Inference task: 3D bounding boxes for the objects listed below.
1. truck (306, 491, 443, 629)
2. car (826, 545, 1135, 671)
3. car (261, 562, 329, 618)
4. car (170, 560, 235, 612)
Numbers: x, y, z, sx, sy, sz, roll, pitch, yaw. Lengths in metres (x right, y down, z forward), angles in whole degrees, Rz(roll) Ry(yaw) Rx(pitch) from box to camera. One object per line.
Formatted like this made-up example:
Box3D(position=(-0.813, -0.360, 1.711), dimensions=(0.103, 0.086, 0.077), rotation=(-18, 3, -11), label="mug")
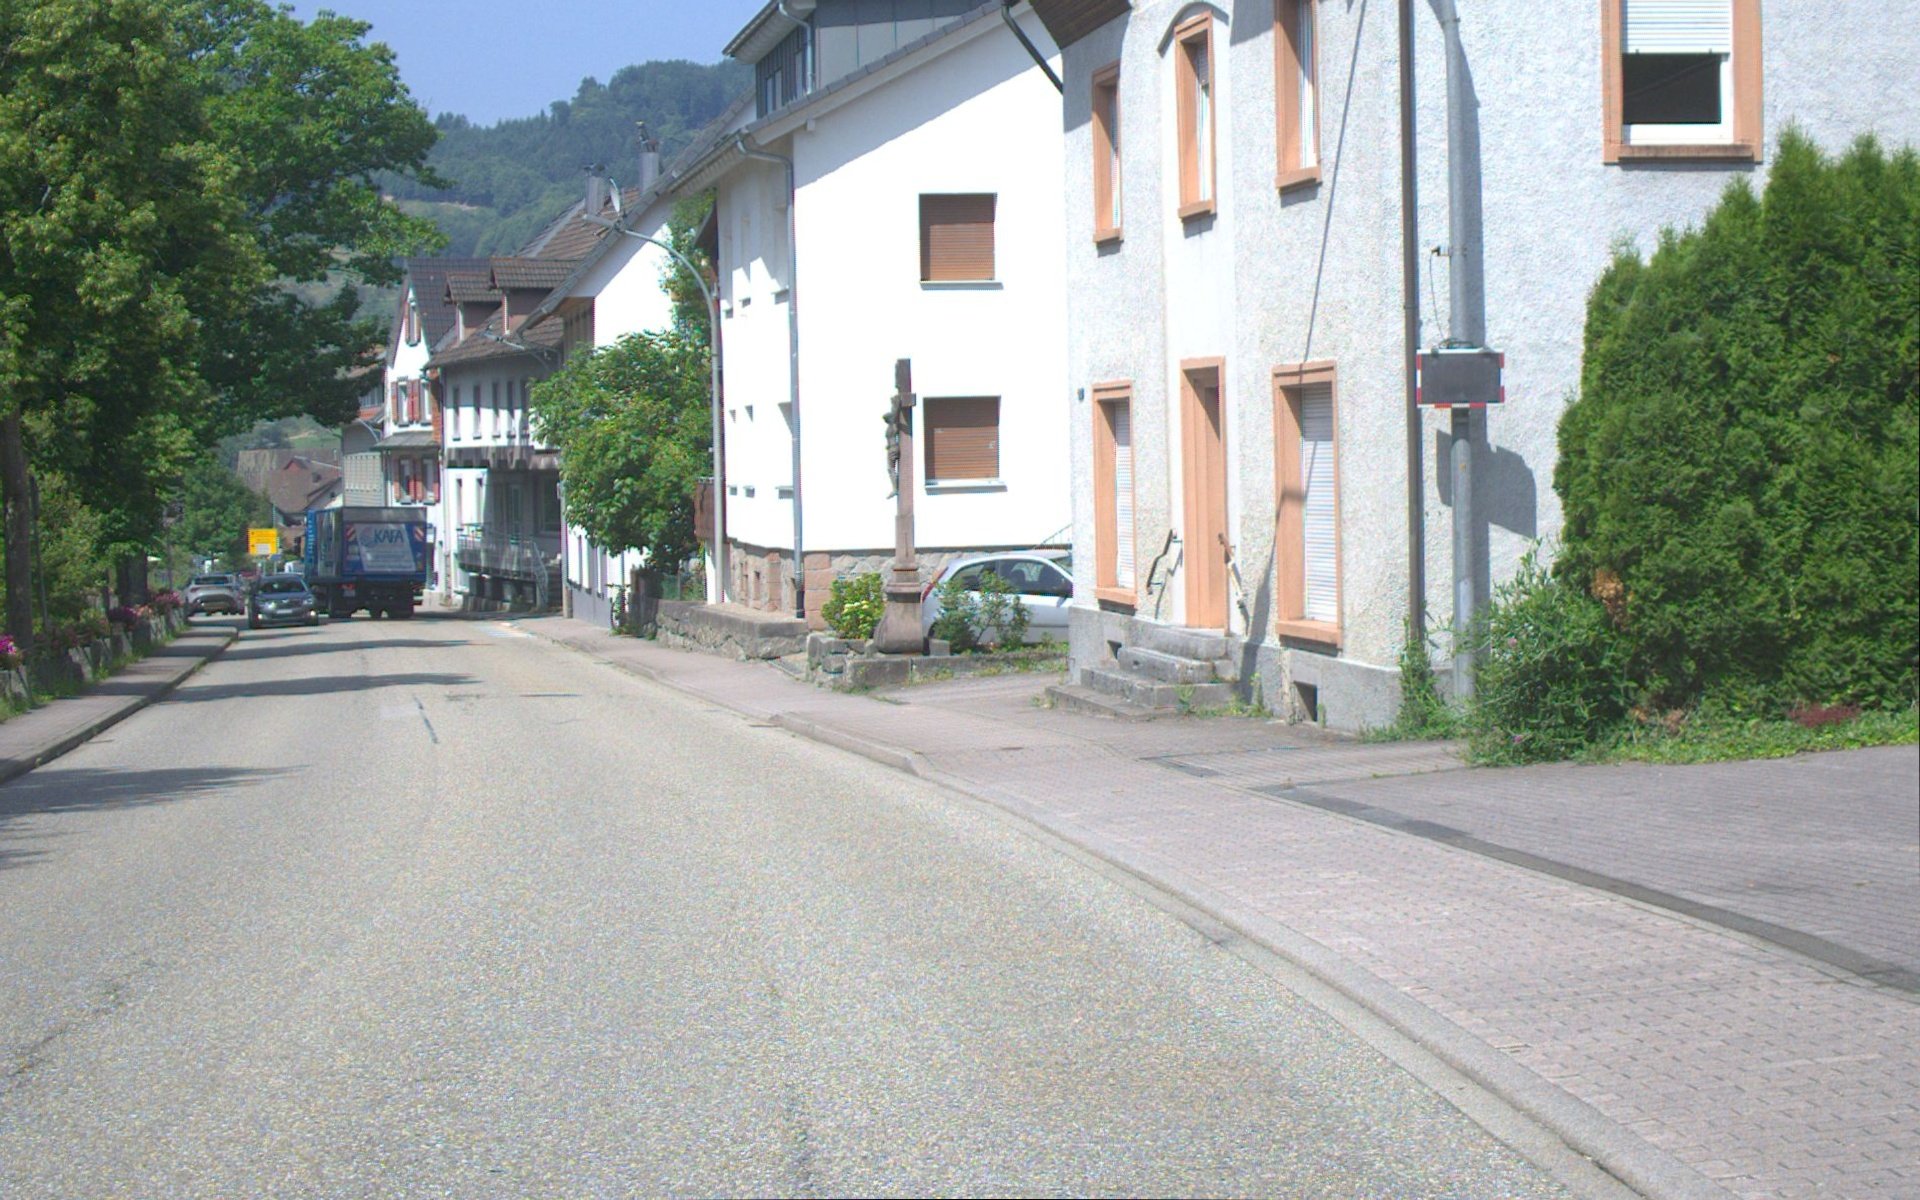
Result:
Box3D(position=(-18.306, -1.176, 107.046), dimensions=(3.362, 3.769, 8.442), rotation=(-5, 0, -13), label="truck")
Box3D(position=(0.254, 0.115, 45.421), dimensions=(3.771, 1.422, 1.607), rotation=(-3, 1, 36), label="car")
Box3D(position=(-18.244, -0.271, 94.473), dimensions=(1.666, 1.413, 4.087), rotation=(-3, 1, -10), label="car")
Box3D(position=(-29.220, -0.540, 132.625), dimensions=(1.774, 1.728, 4.001), rotation=(-5, 0, -20), label="car")
